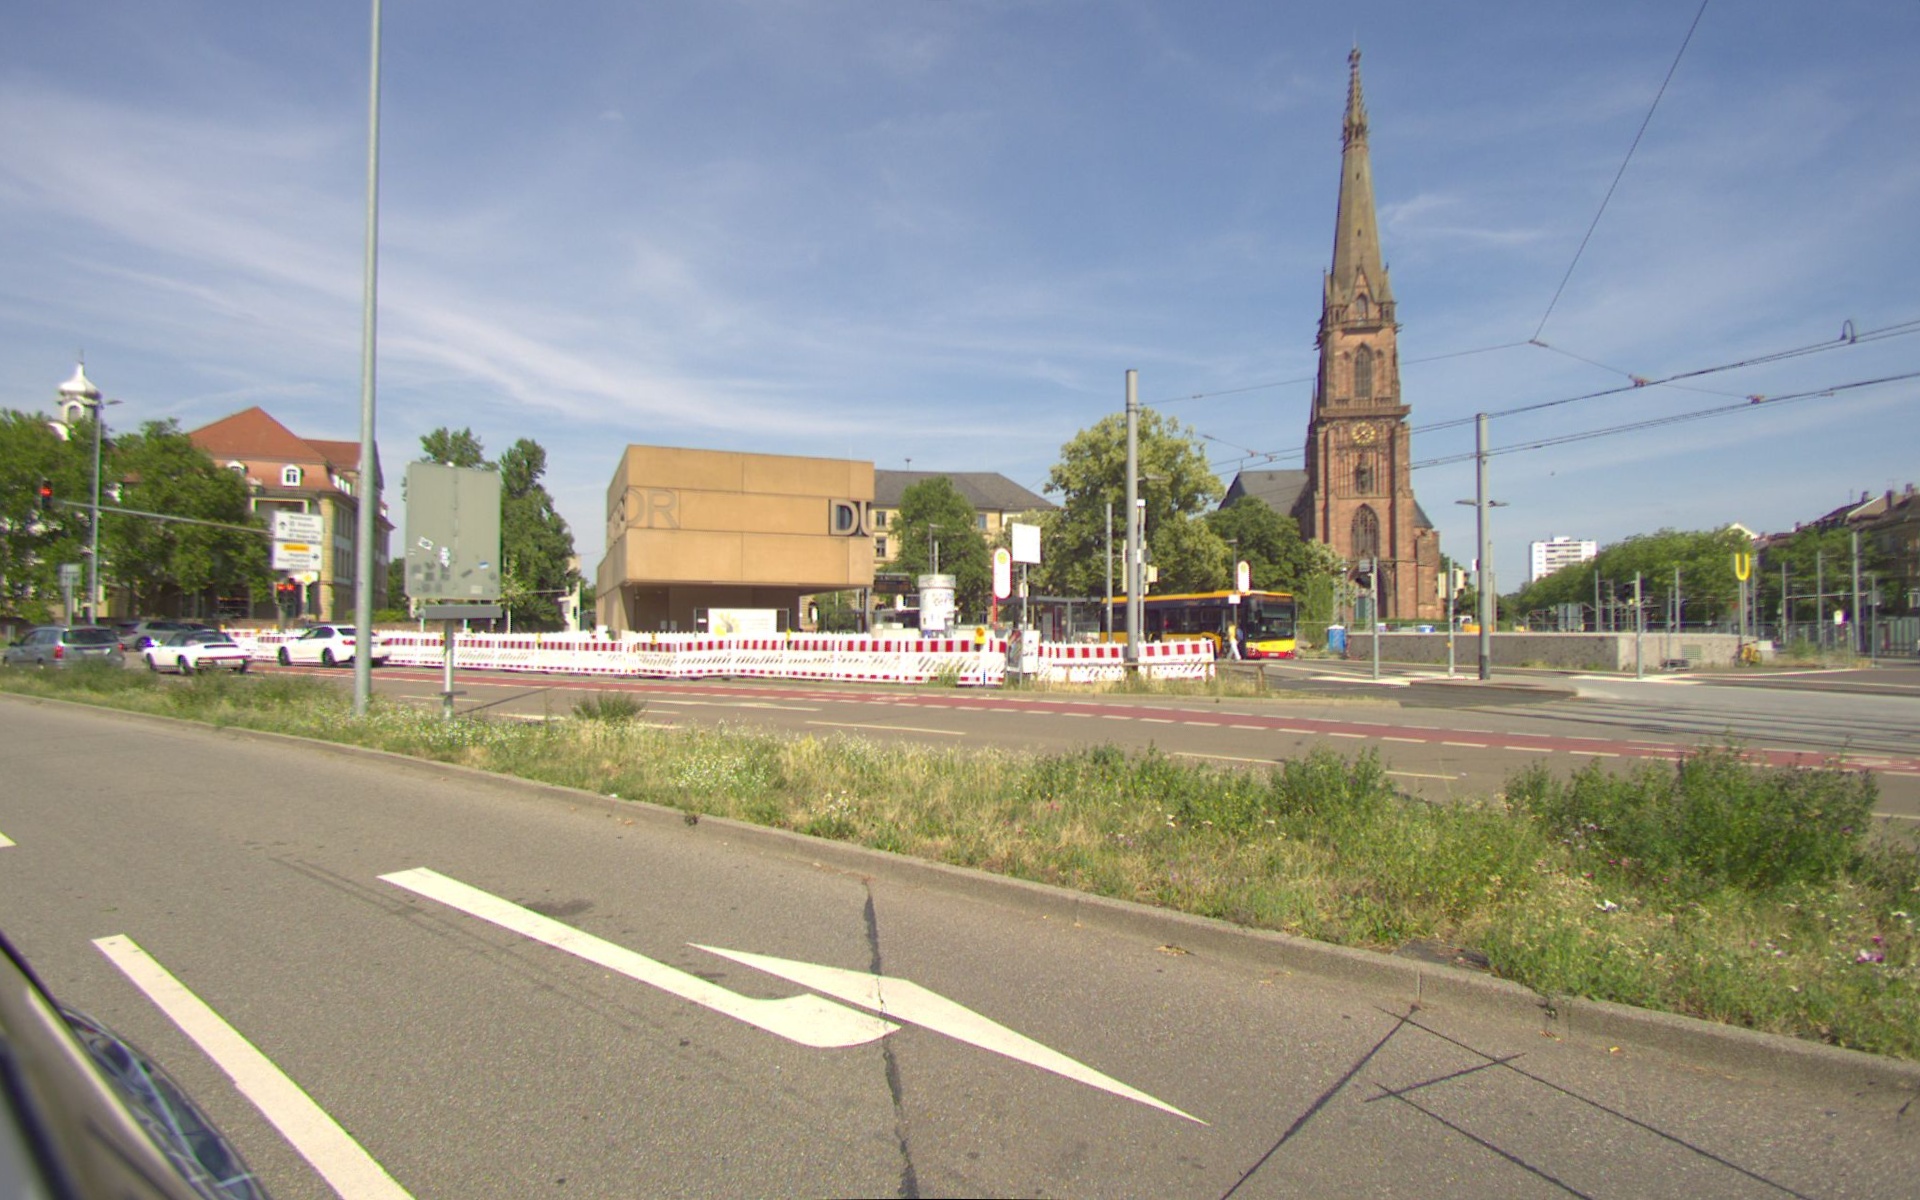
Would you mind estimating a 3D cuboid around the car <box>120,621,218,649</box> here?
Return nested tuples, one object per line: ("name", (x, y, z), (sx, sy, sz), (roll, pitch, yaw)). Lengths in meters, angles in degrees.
("car", (-44.315, 1.946, 56.812), (1.743, 1.454, 4.092), (-1, 0, 16))

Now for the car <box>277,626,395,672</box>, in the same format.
("car", (-21.394, 1.631, 34.670), (3.984, 1.431, 1.785), (-1, 0, 30))

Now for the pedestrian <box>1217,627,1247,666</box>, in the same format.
("pedestrian", (9.979, 1.694, 37.083), (0.911, 1.377, 0.532), (-1, 0, 41))

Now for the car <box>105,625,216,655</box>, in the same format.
("car", (-40.446, 1.999, 51.319), (1.822, 1.447, 4.068), (-1, -2, 21))

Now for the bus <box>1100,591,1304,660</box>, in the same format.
("bus", (10.497, 1.011, 45.990), (2.711, 2.703, 11.828), (-1, 0, -22))

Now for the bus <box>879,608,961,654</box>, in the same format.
("bus", (-3.335, 2.434, 79.577), (2.710, 3.348, 11.827), (1, -2, -22))

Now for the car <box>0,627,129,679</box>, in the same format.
("car", (-24.695, 1.415, 27.806), (3.984, 1.296, 1.583), (-1, 0, 30))

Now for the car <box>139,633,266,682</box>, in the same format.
("car", (-22.425, 1.653, 29.930), (3.984, 1.296, 1.583), (-1, 0, 30))
